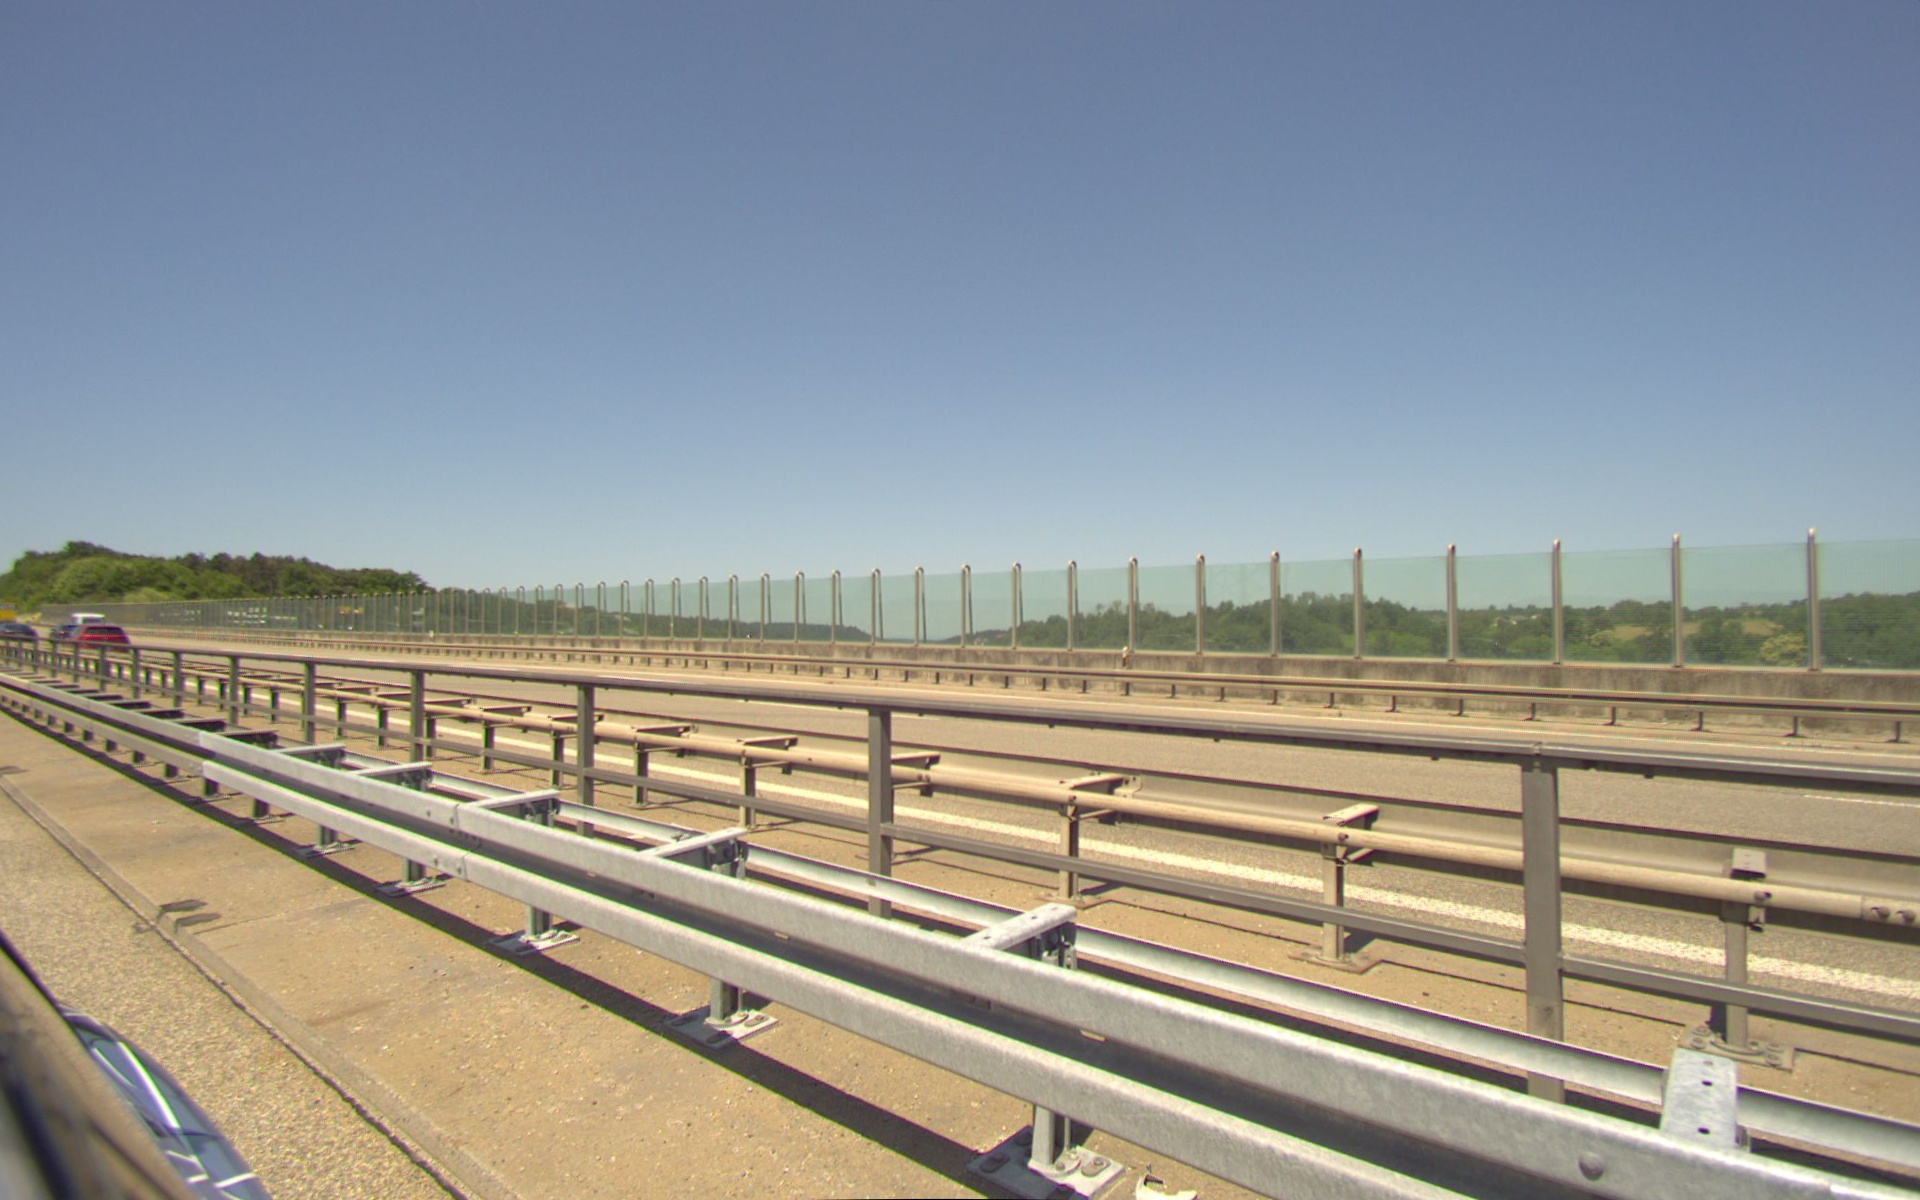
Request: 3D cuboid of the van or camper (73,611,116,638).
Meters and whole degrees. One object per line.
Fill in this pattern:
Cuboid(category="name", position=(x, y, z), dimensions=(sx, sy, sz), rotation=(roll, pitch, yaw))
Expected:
Cuboid(category="van or camper", position=(-76.862, 2.149, 89.842), dimensions=(5.533, 2.228, 1.973), rotation=(-1, -3, 41))

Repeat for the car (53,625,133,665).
Cuboid(category="car", position=(-35.015, 1.777, 40.850), dimensions=(4.417, 1.457, 1.823), rotation=(-1, 0, 41))

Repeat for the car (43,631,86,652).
Cuboid(category="car", position=(-63.287, 2.919, 71.502), dimensions=(4.261, 1.396, 1.782), rotation=(-1, -2, 41))

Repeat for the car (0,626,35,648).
Cuboid(category="car", position=(-59.291, 2.276, 63.099), dimensions=(4.370, 1.325, 1.877), rotation=(-1, -2, 41))

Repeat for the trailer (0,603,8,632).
Cuboid(category="trailer", position=(-141.762, 2.616, 148.407), dimensions=(13.806, 4.094, 2.395), rotation=(-2, -3, 44))
